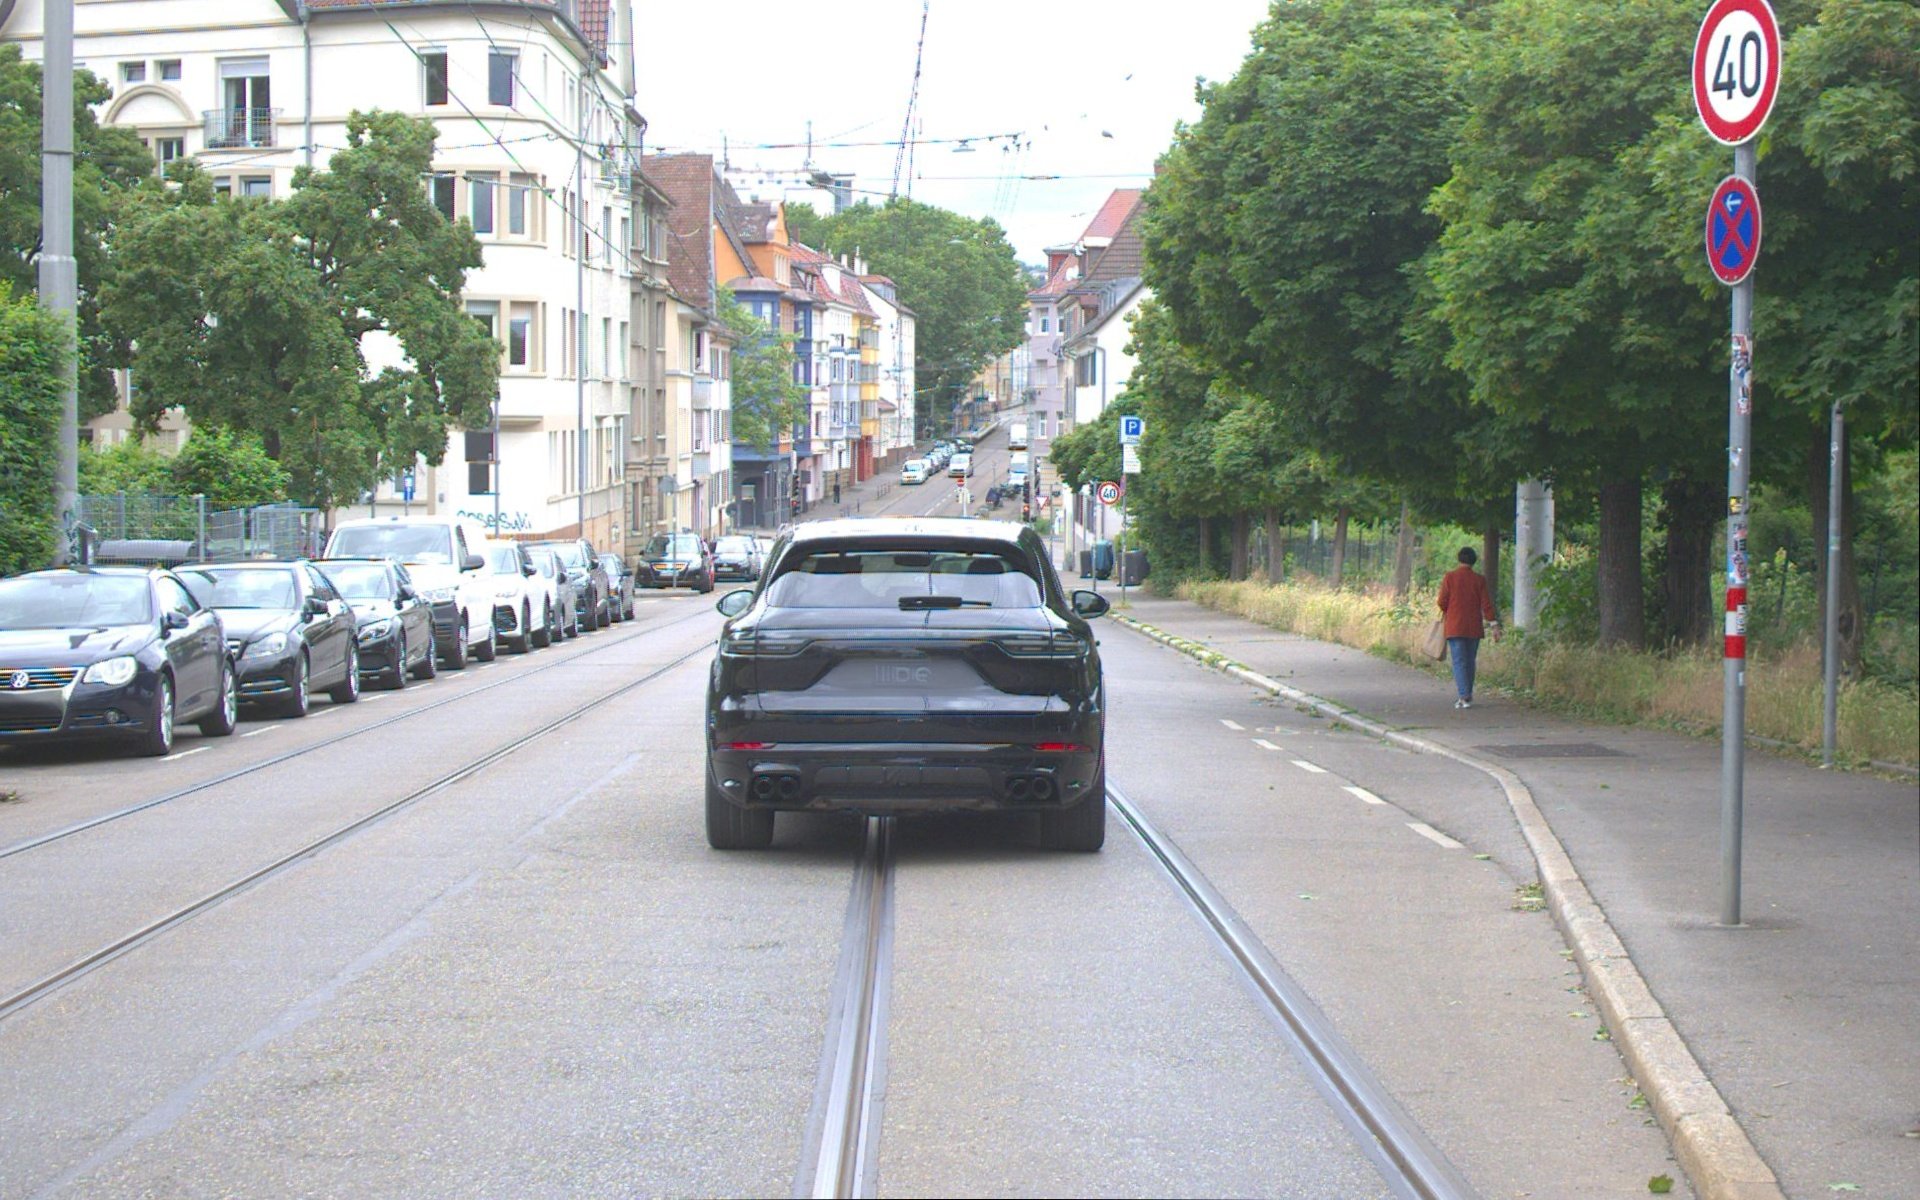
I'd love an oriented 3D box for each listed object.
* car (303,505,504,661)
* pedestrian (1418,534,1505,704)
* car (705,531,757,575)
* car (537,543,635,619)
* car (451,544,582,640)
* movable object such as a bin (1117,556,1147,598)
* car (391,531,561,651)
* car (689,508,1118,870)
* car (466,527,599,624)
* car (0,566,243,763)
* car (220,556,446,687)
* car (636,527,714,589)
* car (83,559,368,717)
[{"bbox_3d":[-7.146,-0.210,44.581,1.969,1.906,4.735,0,0,-2],"label":"car"},{"bbox_3d":[4.841,0.176,33.215,0.715,1.615,0.718,1,0,0],"label":"pedestrian"},{"bbox_3d":[-7.858,-1.588,118.075,1.620,1.458,4.033,0,0,-2],"label":"car"},{"bbox_3d":[-7.440,-0.362,68.693,1.620,1.472,4.156,0,0,-2],"label":"car"},{"bbox_3d":[-7.168,-0.130,55.813,1.738,1.504,3.869,0,0,-2],"label":"car"},{"bbox_3d":[5.093,-0.687,101.727,0.792,1.214,0.789,1,0,-4],"label":"movable object such as a bin"},{"bbox_3d":[-7.043,-0.128,50.430,1.969,1.681,4.633,0,0,-2],"label":"car"},{"bbox_3d":[-0.289,0.398,18.135,1.993,1.670,4.000,1,1,-1],"label":"car"},{"bbox_3d":[-7.678,-0.430,62.107,1.969,1.681,4.444,0,0,-2],"label":"car"},{"bbox_3d":[-6.801,0.458,26.511,1.790,1.399,4.162,0,0,-2],"label":"car"},{"bbox_3d":[-6.966,0.223,38.608,1.840,1.382,4.518,0,0,-2],"label":"car"},{"bbox_3d":[-7.706,-1.118,93.302,1.867,1.640,4.402,0,0,-2],"label":"car"},{"bbox_3d":[-6.795,0.333,32.229,1.840,1.382,4.440,0,0,-2],"label":"car"}]
